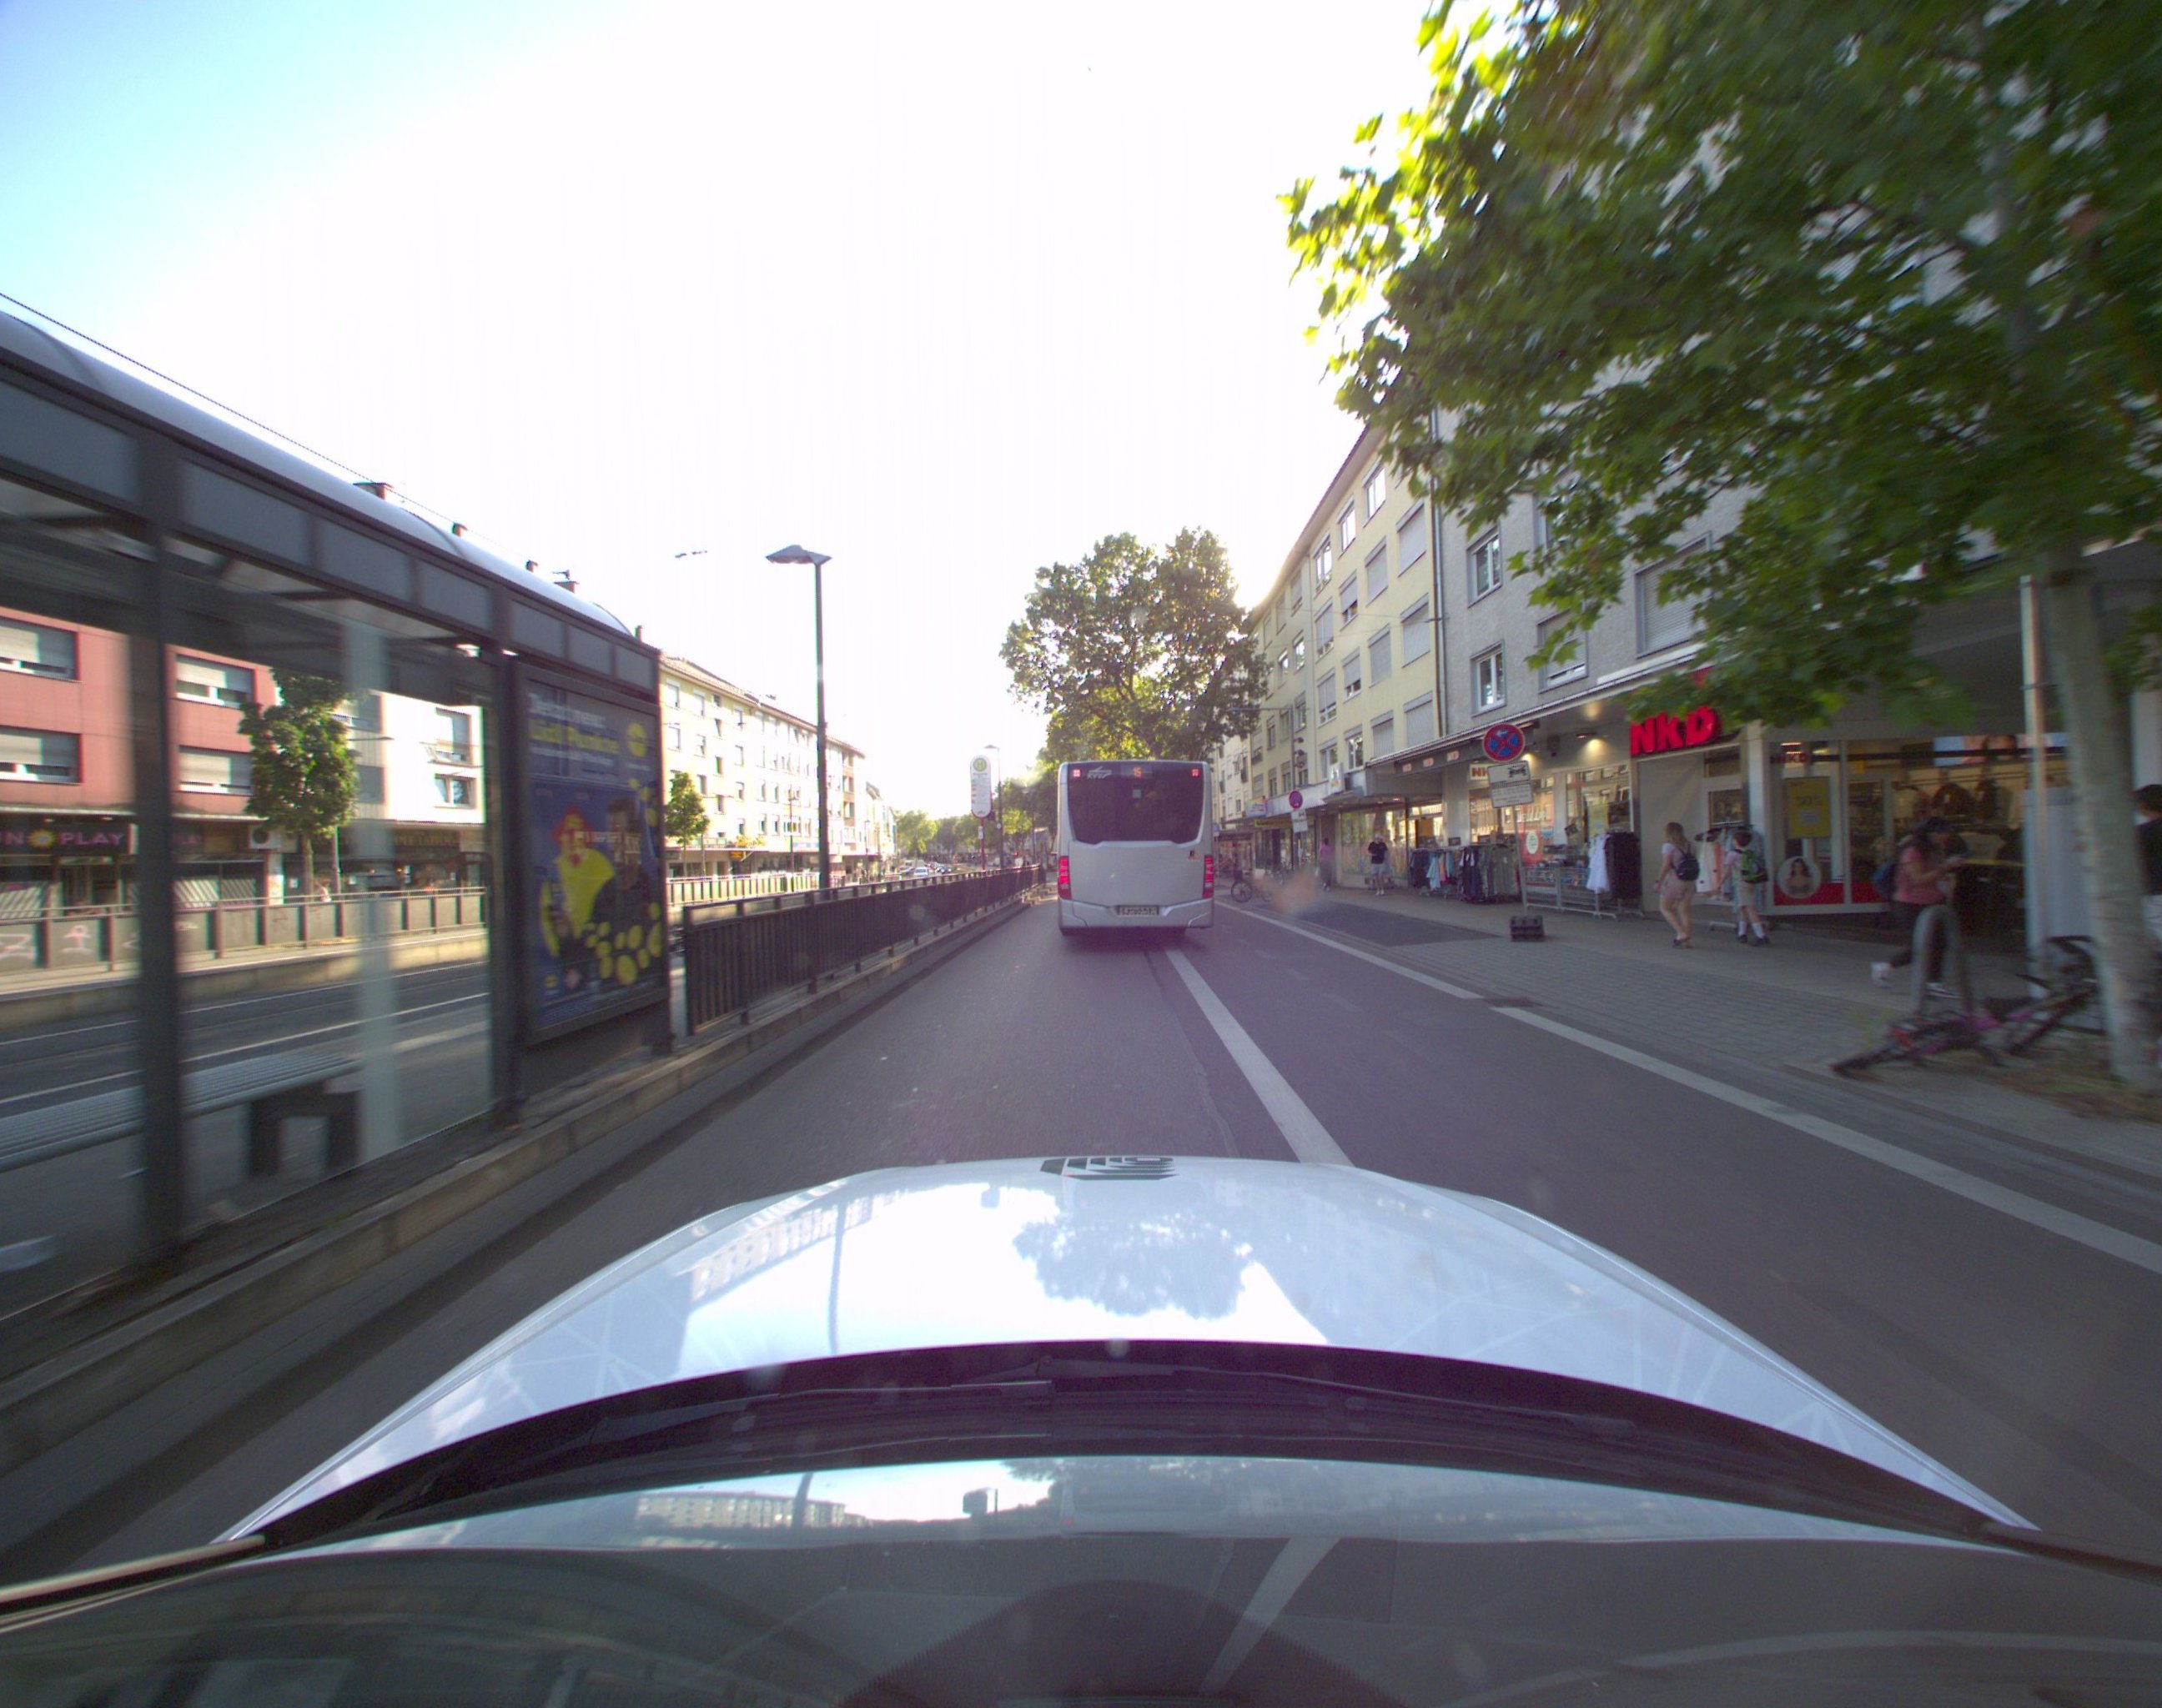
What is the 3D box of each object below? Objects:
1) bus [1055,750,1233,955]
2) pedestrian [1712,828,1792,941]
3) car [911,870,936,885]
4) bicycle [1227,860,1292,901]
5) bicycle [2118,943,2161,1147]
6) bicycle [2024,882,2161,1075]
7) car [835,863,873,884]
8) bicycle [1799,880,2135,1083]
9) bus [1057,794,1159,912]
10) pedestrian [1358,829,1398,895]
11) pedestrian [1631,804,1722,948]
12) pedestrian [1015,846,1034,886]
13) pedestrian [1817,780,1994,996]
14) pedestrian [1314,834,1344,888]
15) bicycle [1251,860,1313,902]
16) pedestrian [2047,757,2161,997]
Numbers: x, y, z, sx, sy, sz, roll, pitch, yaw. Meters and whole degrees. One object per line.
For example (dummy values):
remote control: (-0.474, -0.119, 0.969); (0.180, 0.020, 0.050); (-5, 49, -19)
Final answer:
bus: (0.857, -0.035, 17.355); (2.689, 3.118, 9.375); (-2, 0, -2)
pedestrian: (8.651, 0.379, 10.511); (0.473, 1.394, 0.612); (-3, 0, 1)
car: (-18.726, 2.763, 96.932); (1.986, 1.651, 4.001); (-3, 0, 2)
bicycle: (5.744, 0.855, 26.267); (1.878, 1.077, 0.755); (-7, 0, 4)
bicycle: (6.005, 0.828, 3.627); (1.778, 0.942, 0.793); (-6, 0, -4)
bicycle: (6.352, 0.680, 4.825); (1.702, 0.942, 0.646); (-2, -9, -34)
car: (-19.705, 1.708, 70.950); (1.986, 1.651, 4.001); (-3, 0, 2)
bicycle: (5.713, 0.790, 5.257); (1.794, 0.630, 0.930); (-6, -34, -30)
bus: (0.602, -0.040, 26.575); (2.689, 3.118, 9.064); (-2, 0, -2)
pedestrian: (8.558, 0.222, 23.464); (0.721, 1.795, 0.767); (-5, -1, 1)
pedestrian: (7.828, 0.281, 10.733); (0.562, 1.795, 0.767); (-3, 0, 1)
pedestrian: (-3.720, 0.799, 53.608); (0.884, 2.546, 1.166); (-3, 0, 8)
pedestrian: (7.290, 0.288, 7.245); (0.721, 1.795, 0.767); (-3, 0, 1)
pedestrian: (8.555, 0.247, 28.137); (0.721, 1.795, 0.767); (-3, 0, 1)
bicycle: (6.245, 0.832, 25.355); (1.707, 1.077, 0.589); (-6, 0, -16)
pedestrian: (8.439, 0.157, 6.394); (0.721, 1.795, 0.767); (-3, 0, 1)
